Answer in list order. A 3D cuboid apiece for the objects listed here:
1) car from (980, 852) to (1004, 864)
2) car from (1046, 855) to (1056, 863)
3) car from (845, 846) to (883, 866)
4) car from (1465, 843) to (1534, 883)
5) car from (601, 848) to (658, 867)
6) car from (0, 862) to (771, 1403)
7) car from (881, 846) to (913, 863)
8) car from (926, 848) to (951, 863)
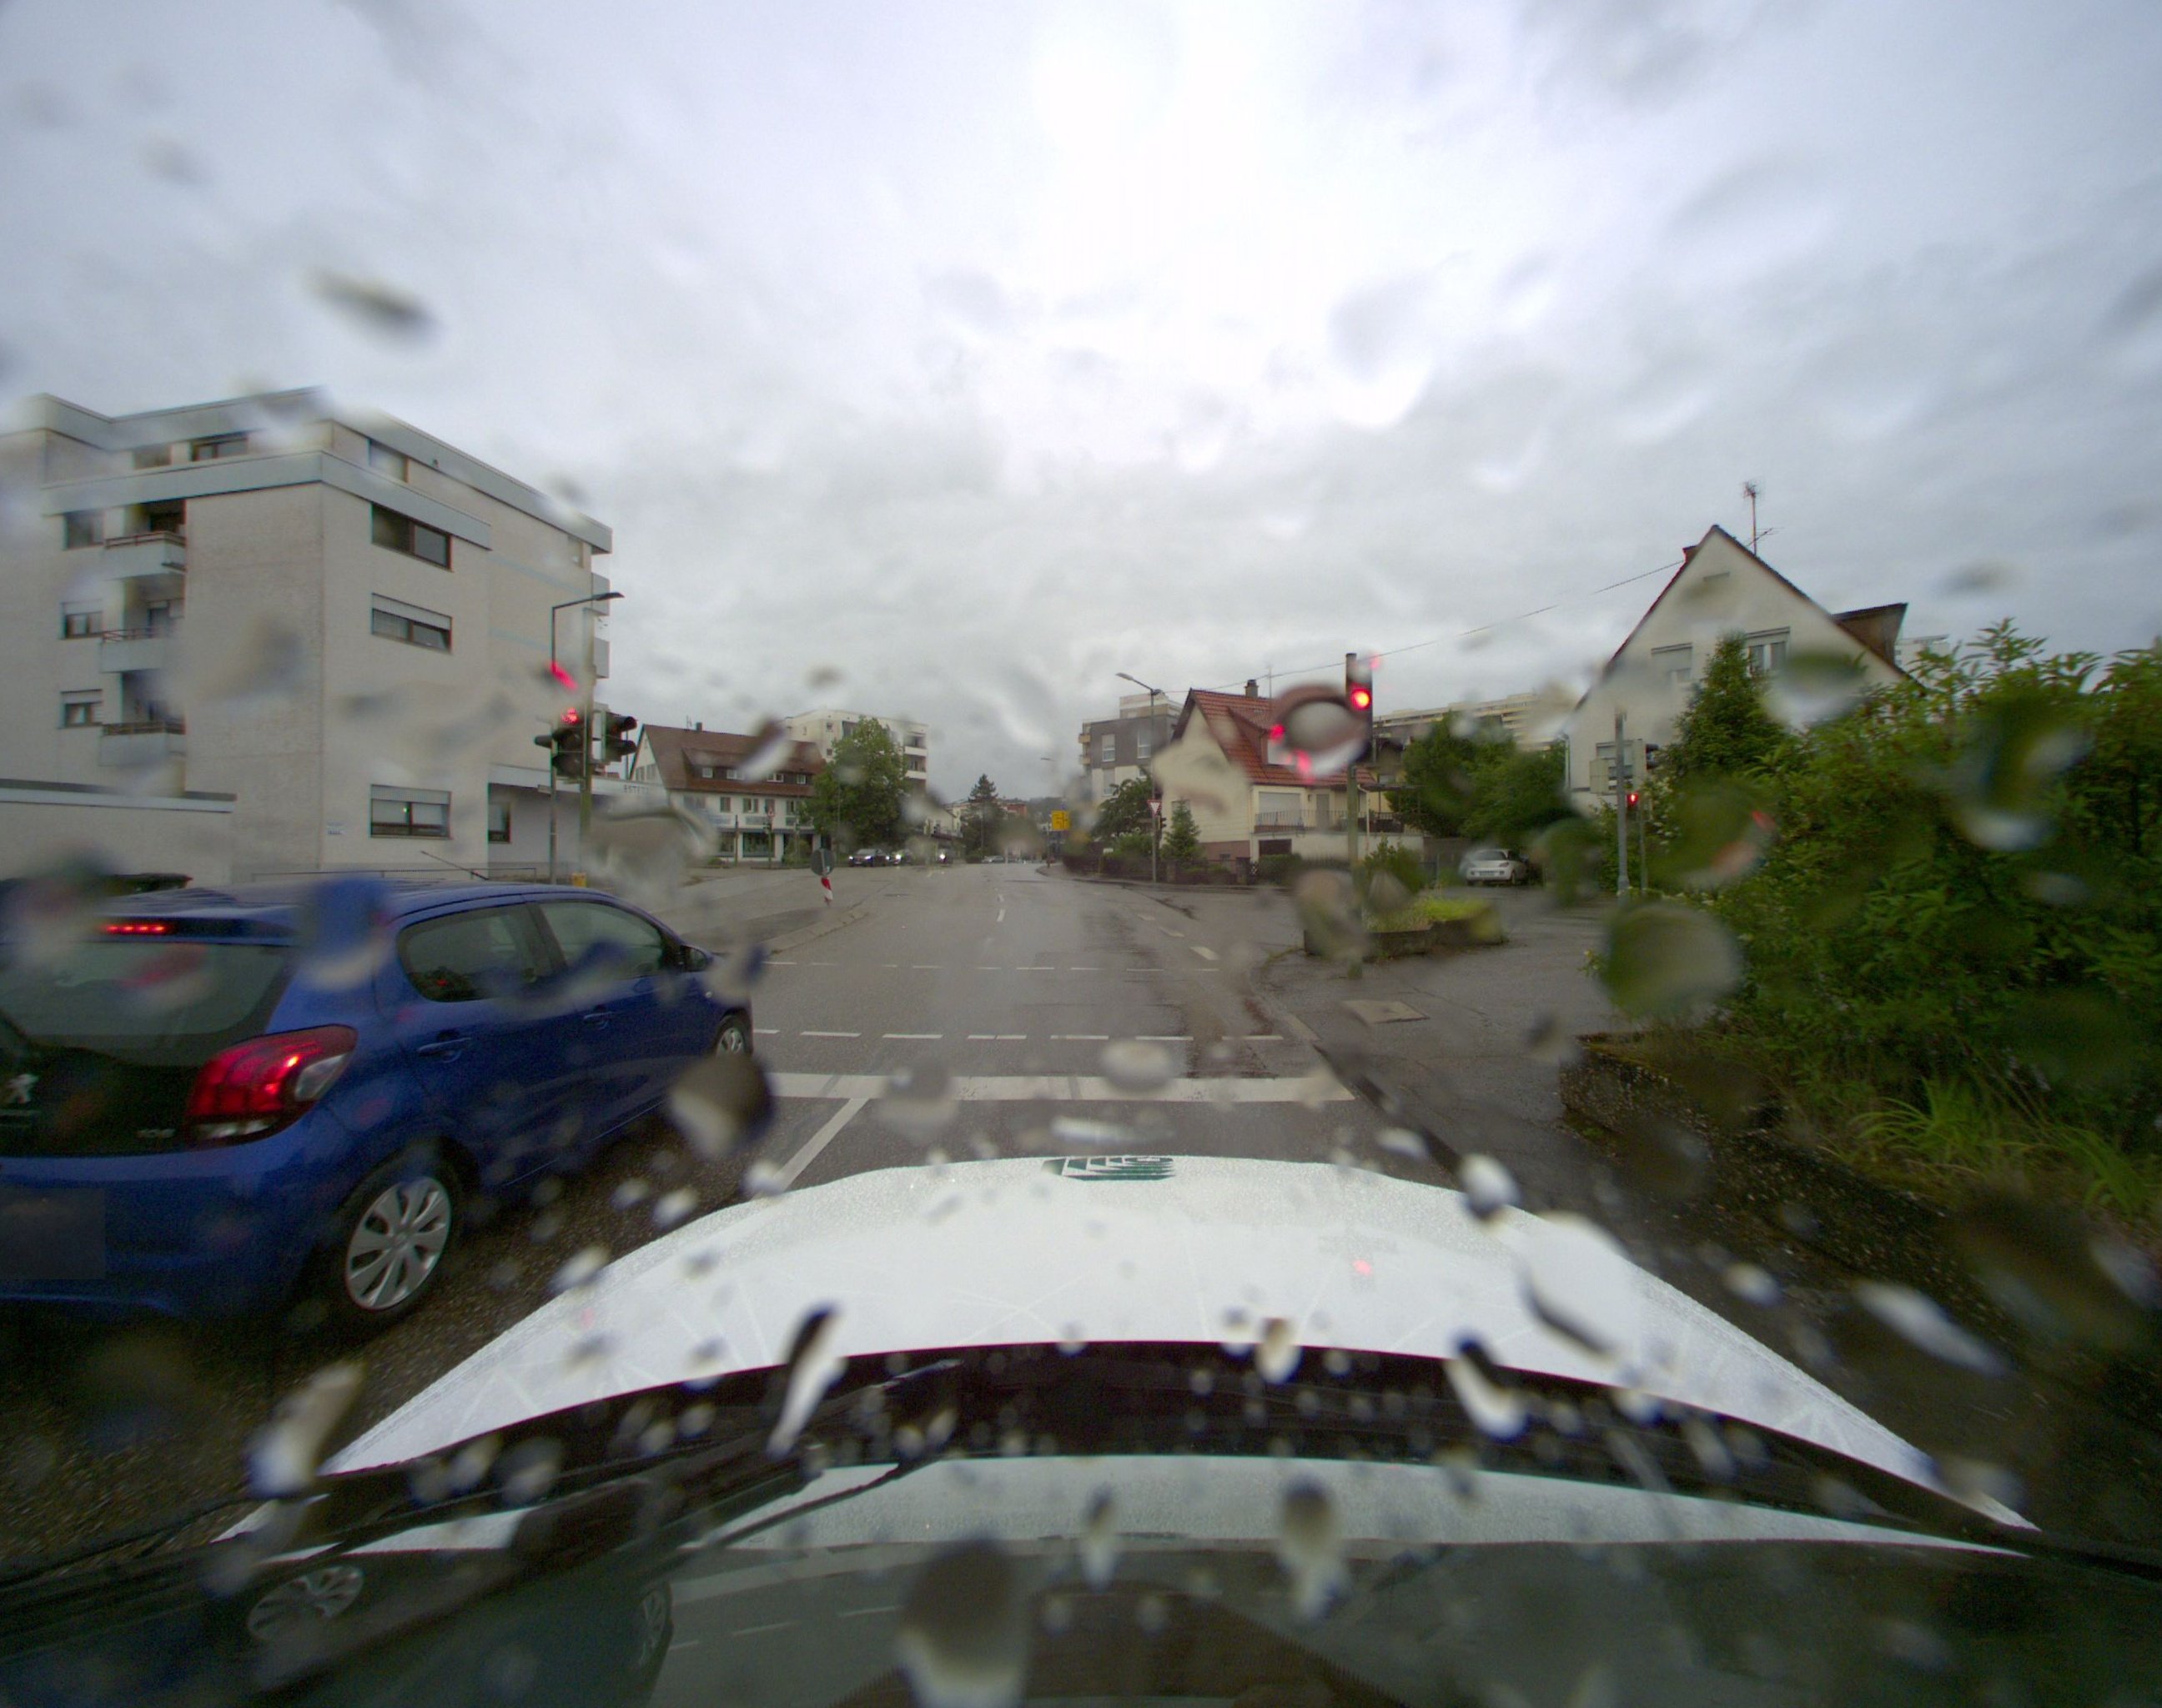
[{"bbox_3d":[-14.784,0.678,135.279,3.844,1.815,1.757,-1,0,-7],"label":"car"},{"bbox_3d":[-6.023,0.997,163.835,1.806,1.486,4.191,-1,0,2],"label":"car"},{"bbox_3d":[-16.451,0.118,61.986,1.772,1.420,3.832,0,1,1],"label":"car"},{"bbox_3d":[16.888,0.325,32.812,1.723,1.514,4.025,0,1,38],"label":"car"},{"bbox_3d":[-38.822,0.273,70.056,3.989,1.572,1.850,-1,1,-43],"label":"car"},{"bbox_3d":[-2.932,0.775,3.858,1.573,1.410,3.272,0,0,2],"label":"car"},{"bbox_3d":[-15.585,0.027,69.164,1.709,1.387,4.022,0,1,1],"label":"car"},{"bbox_3d":[-14.377,0.143,82.460,1.772,1.420,3.832,0,1,1],"label":"car"}]
